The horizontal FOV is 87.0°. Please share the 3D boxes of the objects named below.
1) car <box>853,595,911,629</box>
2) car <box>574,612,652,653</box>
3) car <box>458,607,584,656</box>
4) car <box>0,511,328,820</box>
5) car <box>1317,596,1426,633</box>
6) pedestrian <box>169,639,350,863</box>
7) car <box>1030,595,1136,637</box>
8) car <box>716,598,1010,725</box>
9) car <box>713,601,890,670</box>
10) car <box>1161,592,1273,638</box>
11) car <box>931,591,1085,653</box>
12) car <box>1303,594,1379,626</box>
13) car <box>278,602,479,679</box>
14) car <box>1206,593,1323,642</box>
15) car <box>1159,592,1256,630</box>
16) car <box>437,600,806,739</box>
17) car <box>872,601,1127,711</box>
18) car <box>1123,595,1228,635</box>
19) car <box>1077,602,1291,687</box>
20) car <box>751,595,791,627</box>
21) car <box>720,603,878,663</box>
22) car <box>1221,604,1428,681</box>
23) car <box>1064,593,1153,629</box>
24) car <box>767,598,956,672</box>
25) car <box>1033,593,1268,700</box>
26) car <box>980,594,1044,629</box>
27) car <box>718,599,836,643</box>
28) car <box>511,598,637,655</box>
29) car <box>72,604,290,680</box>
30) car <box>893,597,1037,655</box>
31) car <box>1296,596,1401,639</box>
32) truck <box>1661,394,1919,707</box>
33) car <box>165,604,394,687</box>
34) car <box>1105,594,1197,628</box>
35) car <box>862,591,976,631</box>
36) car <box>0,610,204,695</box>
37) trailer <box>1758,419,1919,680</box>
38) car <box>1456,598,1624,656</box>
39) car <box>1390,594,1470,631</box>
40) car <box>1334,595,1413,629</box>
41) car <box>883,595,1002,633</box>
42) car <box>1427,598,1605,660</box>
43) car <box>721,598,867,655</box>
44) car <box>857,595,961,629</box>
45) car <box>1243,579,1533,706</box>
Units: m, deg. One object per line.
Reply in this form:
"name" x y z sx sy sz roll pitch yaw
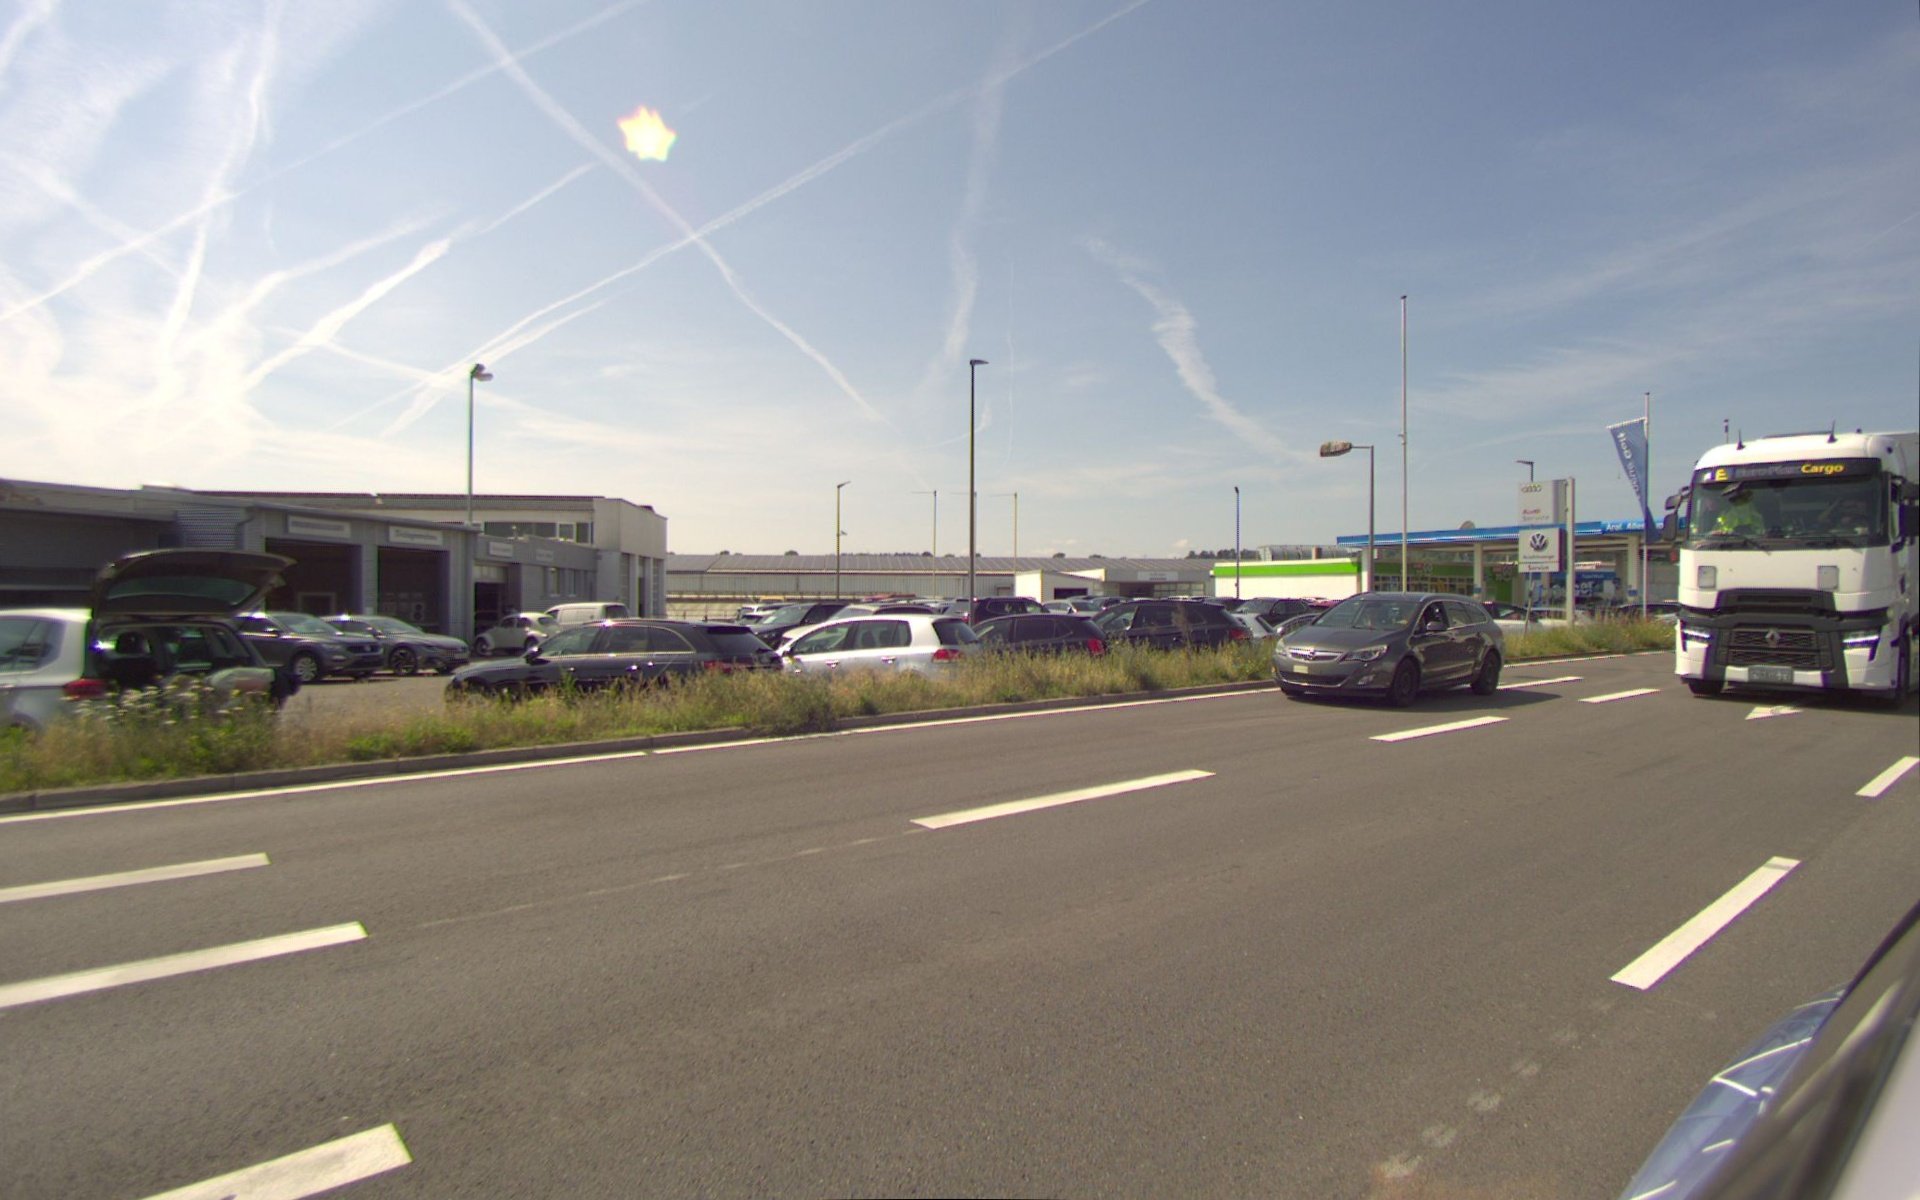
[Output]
"car" -4.125 0.598 52.960 2.025 1.675 4.548 1 1 -17
"car" -16.898 1.530 49.209 3.900 1.751 1.953 2 1 43
"car" -15.513 1.079 35.772 4.028 1.510 1.764 1 1 21
"car" -7.927 0.424 8.912 4.295 2.240 1.752 1 1 20
"car" 19.248 0.644 47.532 1.742 1.600 4.540 0 1 -33
"pedestrian" -5.593 1.150 8.123 0.747 1.604 0.933 1 0 17
"car" 4.847 0.594 40.556 1.910 1.477 4.544 1 1 -29
"car" -1.410 0.800 14.788 3.953 1.578 1.700 1 1 22
"car" -4.249 0.890 27.547 4.464 1.675 1.964 0 1 -45
"car" 10.083 0.574 39.589 4.452 1.675 1.776 0 1 -35
"car" 1.460 0.593 29.741 4.454 1.675 1.775 0 1 -38
"car" 20.268 0.537 53.811 4.242 1.600 1.722 0 1 -35
"car" -14.092 0.948 24.619 4.009 1.675 1.772 1 1 9
"car" 11.236 0.628 37.256 4.452 1.675 1.776 0 1 -35
"car" 11.557 0.479 47.164 4.448 1.675 1.777 0 1 -32
"car" -4.297 0.783 12.960 4.285 1.470 1.766 1 1 18
"car" 0.698 0.854 16.718 3.941 1.572 1.768 1 1 14
"car" 8.926 0.586 41.815 4.452 1.545 1.691 0 1 -35
"car" 4.528 0.837 20.459 3.957 1.476 1.761 1 1 25
"car" -12.396 0.703 66.571 2.167 1.955 4.164 1 1 -4
"car" -4.874 0.964 30.940 4.452 1.675 1.776 0 1 -36
"car" 8.617 0.953 24.221 4.479 1.600 1.765 1 1 19
"car" 6.859 0.479 46.463 4.051 1.551 1.609 0 1 -35
"car" -2.415 0.812 25.712 4.633 1.675 1.904 0 1 -45
"car" 3.429 0.757 18.128 3.946 1.675 1.766 1 1 17
"car" 2.791 0.607 55.526 2.025 1.750 4.548 1 1 -17
"car" -7.505 0.822 41.755 4.453 1.675 1.776 0 1 -36
"car" -14.650 0.963 38.406 4.484 1.973 1.763 1 1 22
"car" -18.980 0.993 24.763 4.095 1.675 1.774 1 1 4
"car" 0.198 0.757 31.665 4.352 1.675 1.775 0 1 -38
"car" 15.667 0.668 40.701 4.452 1.600 1.776 0 1 -35
"truck" 13.623 -0.659 15.960 5.933 4.037 2.647 0 1 -39
"car" -14.767 0.952 22.059 4.008 1.629 1.690 1 -1 8
"car" 9.774 0.565 51.758 4.444 1.675 1.779 1 1 -25
"car" -1.740 0.451 42.772 4.442 1.603 1.827 1 1 -19
"car" -19.631 1.123 22.486 4.468 1.675 1.774 1 1 4
"trailer" 19.484 -0.837 20.717 11.089 4.280 2.613 0 1 -39
"car" 18.413 0.815 32.386 4.490 1.675 1.761 1 1 25
"car" 23.031 0.579 49.515 4.179 1.734 1.714 0 1 -35
"car" 21.038 0.585 51.460 4.158 1.600 1.776 0 1 -35
"car" -0.713 0.543 40.448 4.390 1.449 1.827 1 1 -19
"car" 16.513 0.817 30.353 4.488 1.675 1.762 1 1 24
"car" -5.504 0.830 33.728 4.452 1.751 1.823 0 1 -35
"car" -2.368 0.547 46.716 4.442 1.493 1.827 1 1 -19
"car" 6.209 0.508 14.492 4.369 1.538 1.998 0 1 -39
